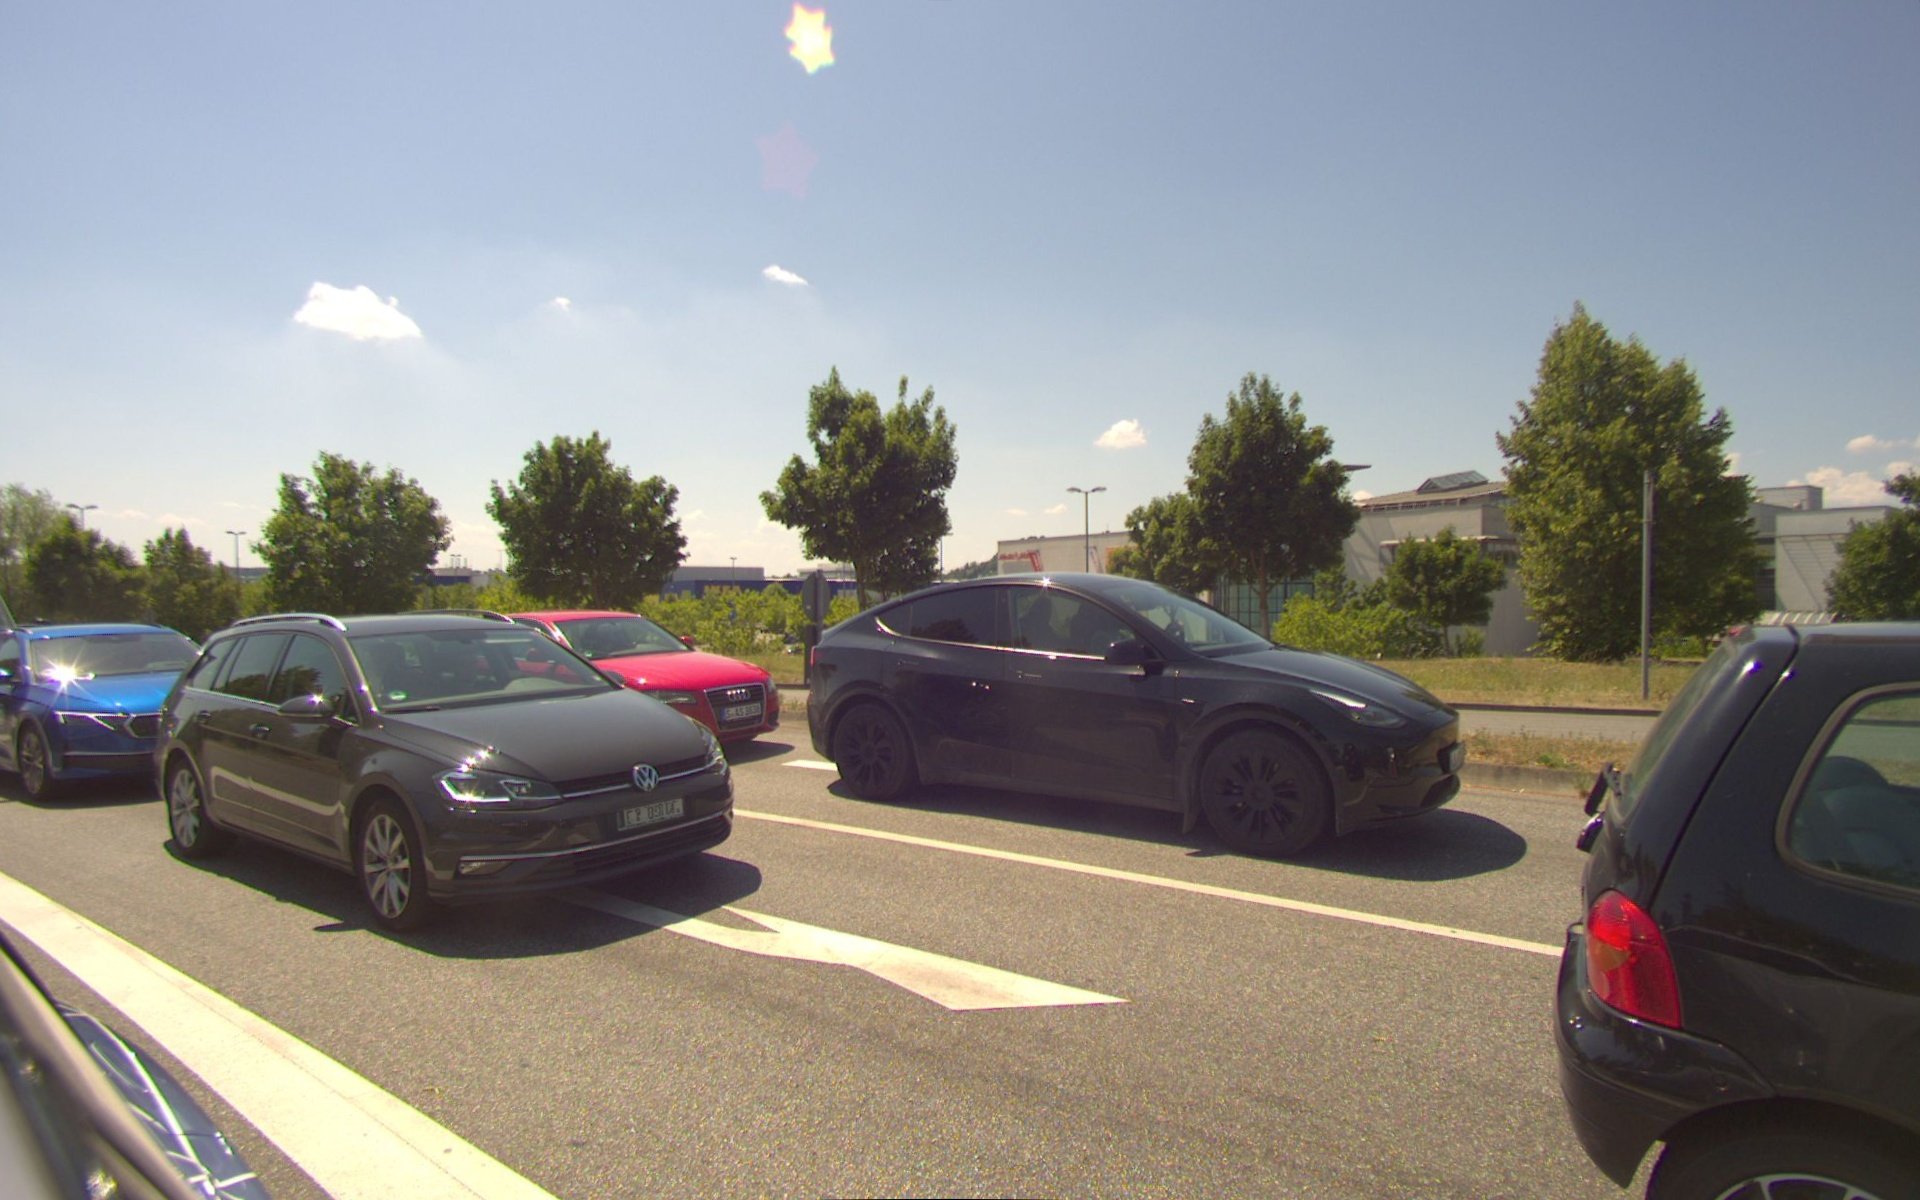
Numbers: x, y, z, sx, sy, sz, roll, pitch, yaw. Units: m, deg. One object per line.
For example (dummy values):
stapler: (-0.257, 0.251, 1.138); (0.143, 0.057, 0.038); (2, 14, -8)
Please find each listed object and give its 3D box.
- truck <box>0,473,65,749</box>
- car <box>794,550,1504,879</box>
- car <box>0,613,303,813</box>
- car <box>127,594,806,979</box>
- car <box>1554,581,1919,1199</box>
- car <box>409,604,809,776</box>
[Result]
truck: (-15.100, 0.284, 13.712); (7.176, 3.373, 2.390); (-3, -1, 31)
car: (1.117, 0.582, 7.035); (4.496, 1.613, 1.859); (-1, 0, 36)
car: (-8.311, 0.948, 9.633); (4.474, 1.473, 1.695); (-2, 0, 32)
car: (-3.120, 0.765, 5.985); (4.420, 1.493, 1.762); (-1, 0, 36)
car: (2.892, 0.668, 1.516); (3.295, 1.418, 1.604); (-1, 0, 37)
car: (-3.759, 0.783, 10.475); (4.440, 1.399, 1.646); (-1, 1, 36)
